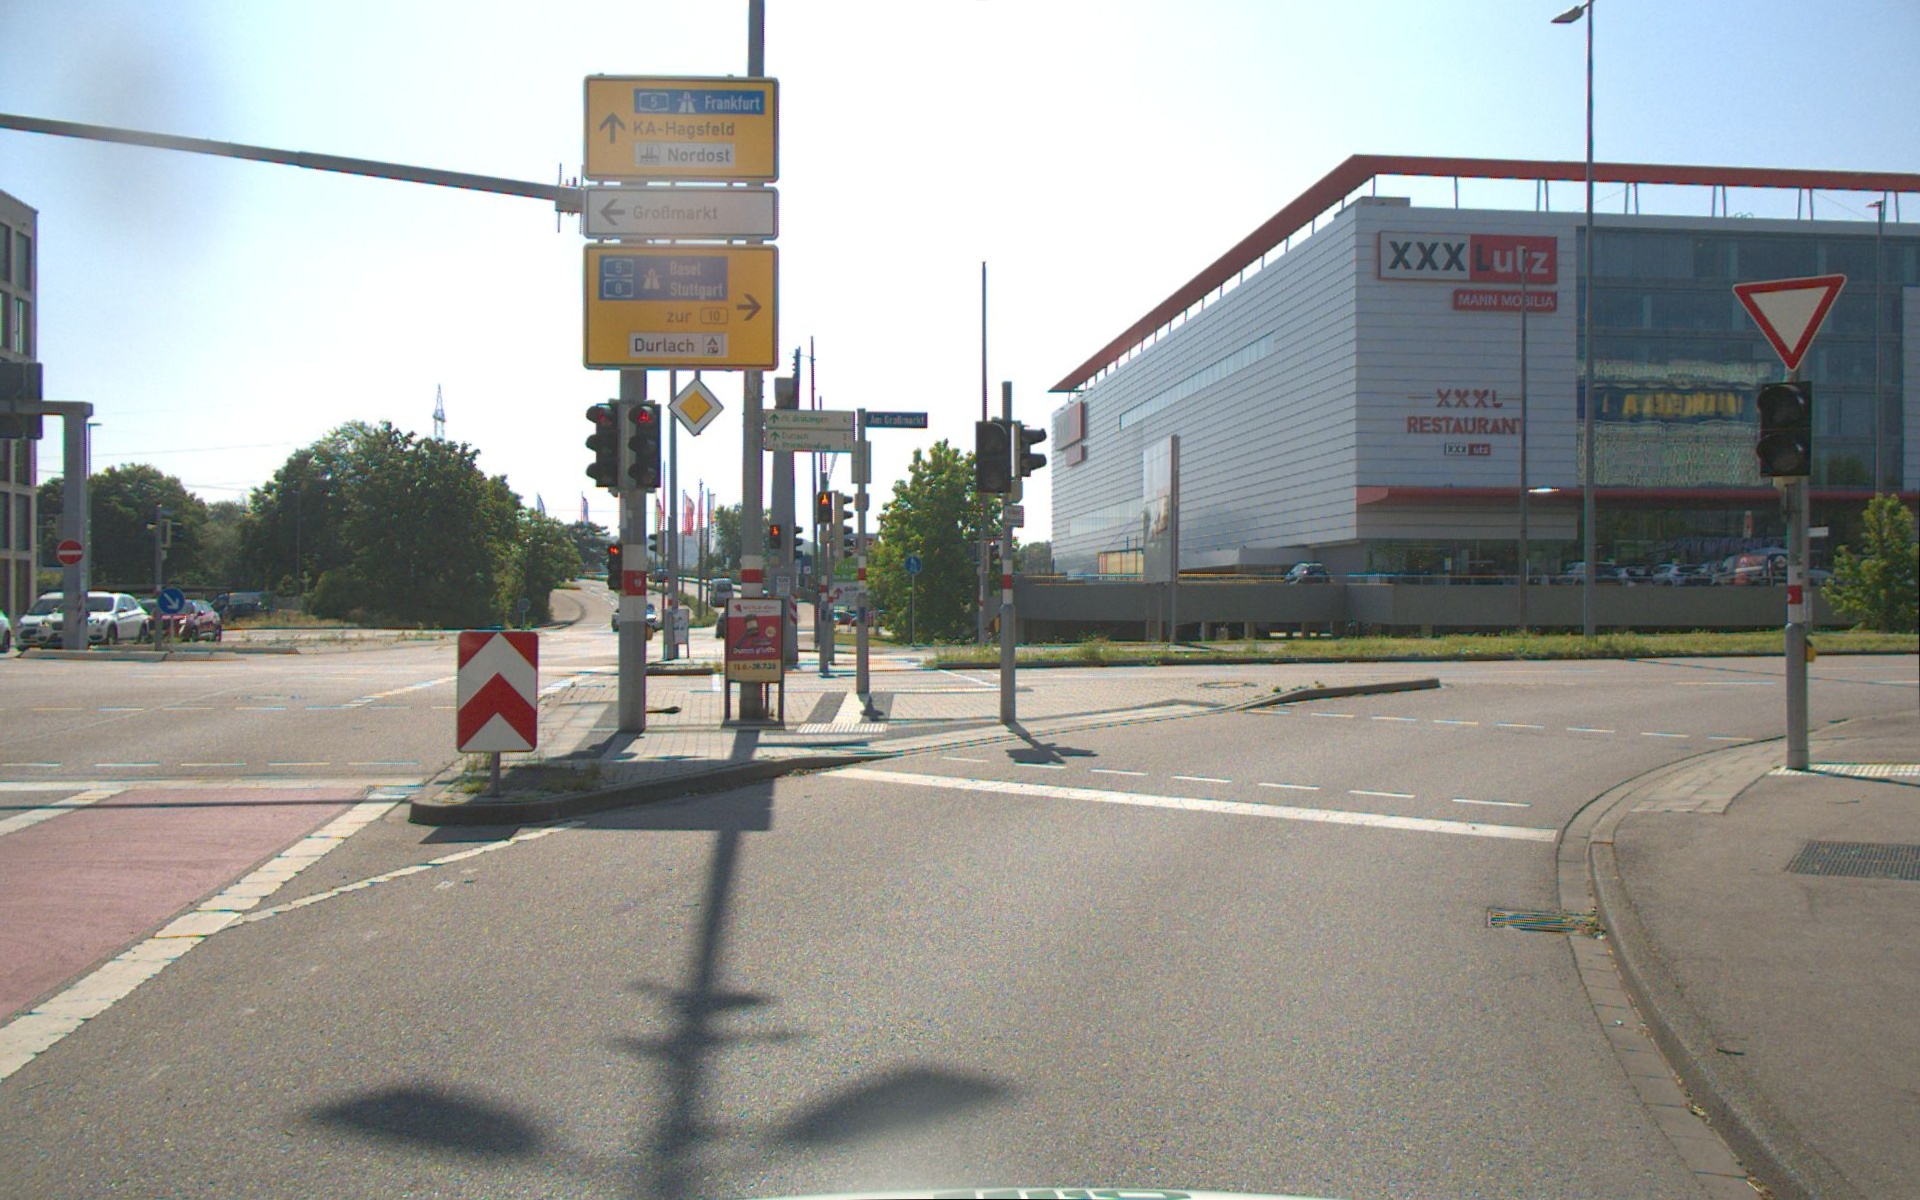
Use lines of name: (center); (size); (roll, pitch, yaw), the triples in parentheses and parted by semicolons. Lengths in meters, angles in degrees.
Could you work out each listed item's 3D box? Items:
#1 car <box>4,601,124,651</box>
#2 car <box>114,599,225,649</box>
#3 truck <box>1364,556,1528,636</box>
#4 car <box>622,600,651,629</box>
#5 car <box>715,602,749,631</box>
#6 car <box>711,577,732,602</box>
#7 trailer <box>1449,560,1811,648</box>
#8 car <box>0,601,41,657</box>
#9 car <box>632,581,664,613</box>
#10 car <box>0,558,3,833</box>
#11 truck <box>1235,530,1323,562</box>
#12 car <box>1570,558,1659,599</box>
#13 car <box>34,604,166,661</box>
car: (-28.181, 0.786, 52.163); (1.780, 1.489, 3.997); (-1, 0, -4)
car: (-25.149, 0.733, 52.761); (1.780, 1.489, 3.997); (-1, 0, -4)
truck: (16.159, -0.142, 55.111); (4.786, 2.466, 1.998); (2, 1, -6)
car: (-20.728, 0.934, 106.142); (1.728, 1.825, 3.339); (0, 0, -10)
car: (-12.284, 0.889, 89.212); (1.656, 1.382, 3.995); (2, 1, -6)
car: (-24.558, -1.094, 170.436); (1.955, 2.362, 3.995); (2, 1, -6)
trailer: (22.510, 0.118, 55.711); (11.640, 2.512, 1.998); (2, 1, -5)
car: (-26.932, 0.799, 44.932); (1.854, 1.489, 3.997); (-1, 0, -4)
car: (-21.722, -0.221, 115.238); (1.956, 2.048, 3.974); (2, 1, -8)
car: (-6.189, 0.517, 7.173); (1.772, 1.668, 4.454); (-1, 0, -5)
truck: (22.742, -3.822, 118.035); (5.796, 2.048, 1.998); (2, 1, -6)
car: (35.026, -1.141, 88.502); (3.914, 2.048, 1.996); (2, 1, -10)
car: (-24.002, 0.870, 46.318); (1.780, 1.489, 3.997); (-1, 0, -4)
